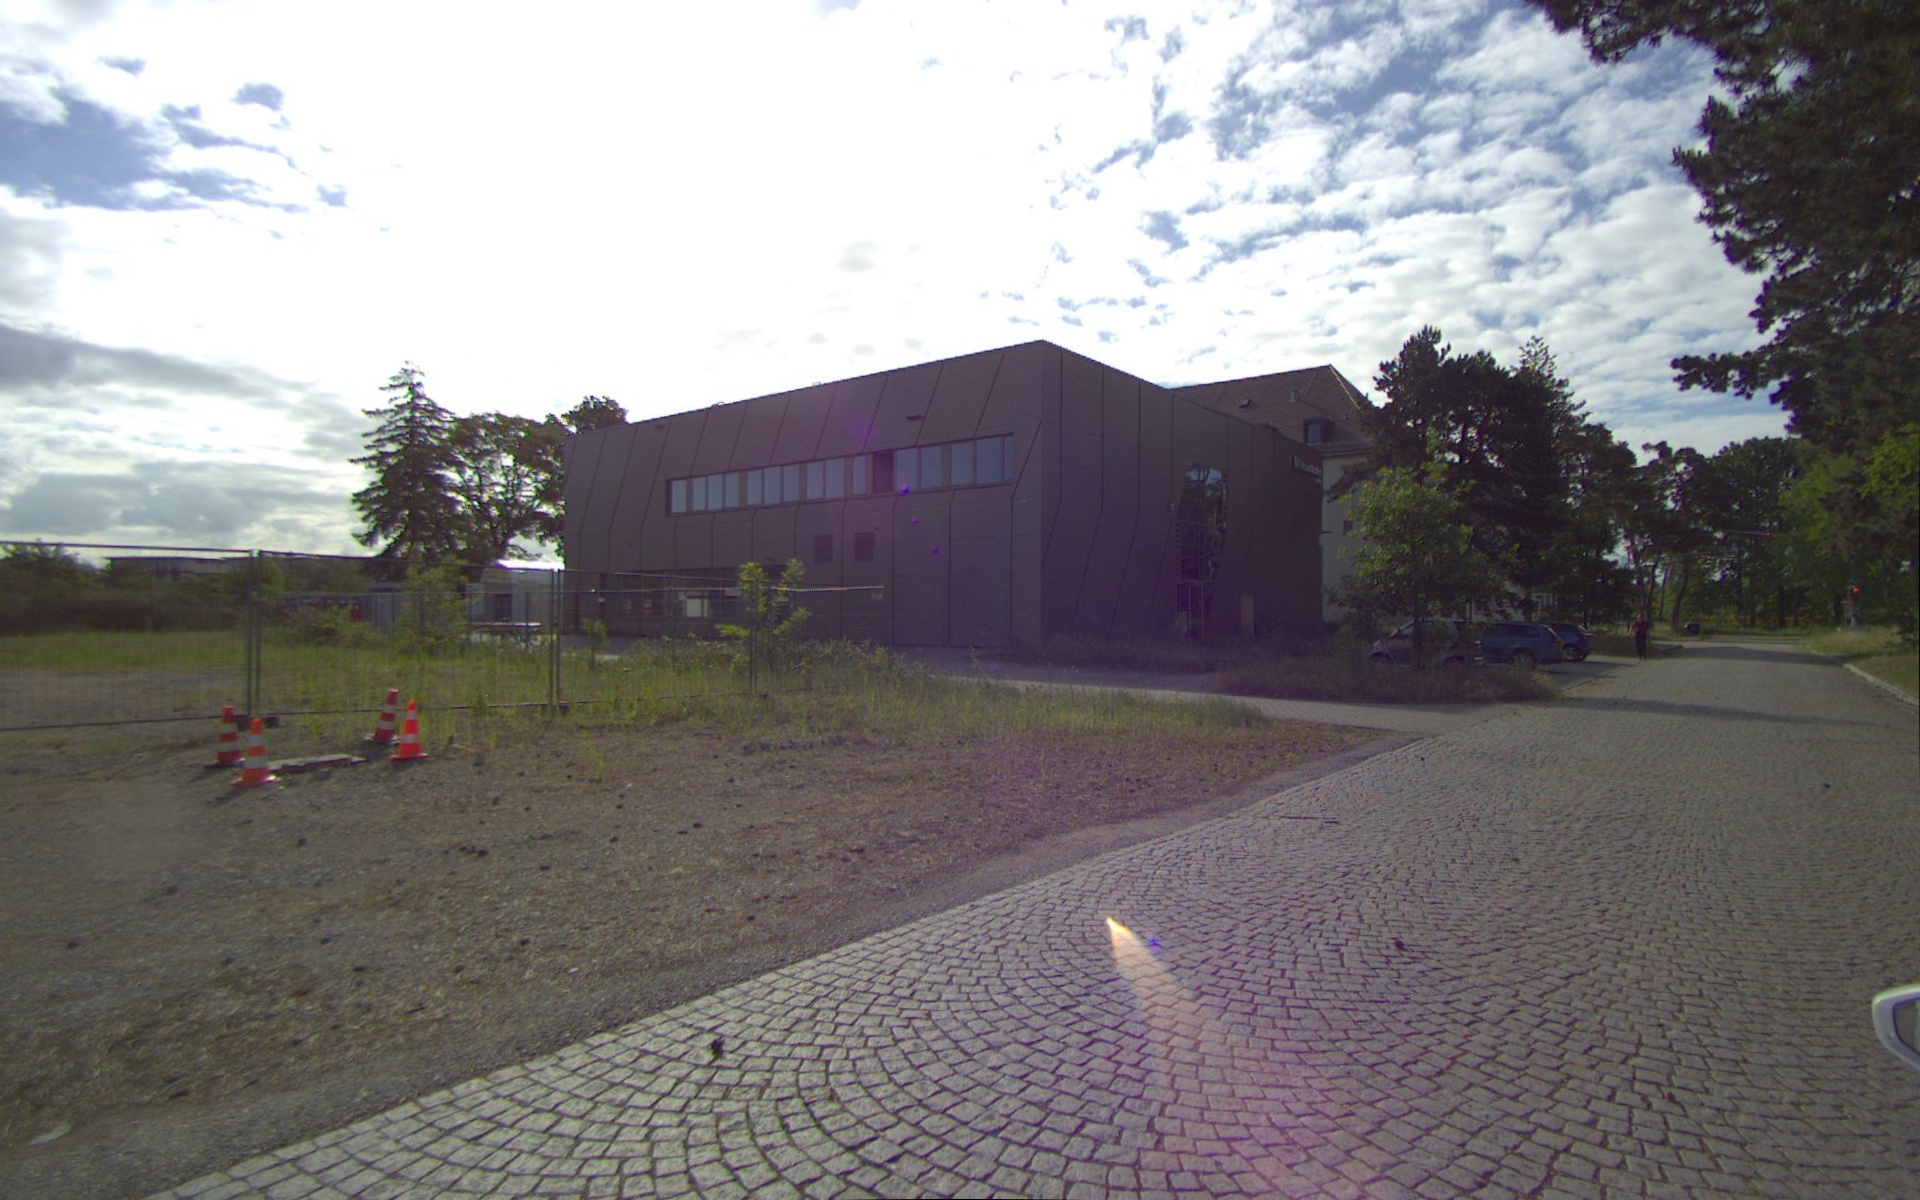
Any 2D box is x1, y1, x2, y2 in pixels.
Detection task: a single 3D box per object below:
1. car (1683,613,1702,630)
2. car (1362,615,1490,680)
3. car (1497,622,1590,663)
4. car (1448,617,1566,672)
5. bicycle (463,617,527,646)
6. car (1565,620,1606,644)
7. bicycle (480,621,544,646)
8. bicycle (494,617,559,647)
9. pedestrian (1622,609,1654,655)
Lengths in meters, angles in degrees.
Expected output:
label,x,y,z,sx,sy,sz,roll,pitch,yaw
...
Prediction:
label,x,y,z,sx,sy,sz,roll,pitch,yaw
car,88.519,2.605,121.416,1.677,2.040,3.982,0,-1,39
car,12.000,1.190,25.930,2.730,1.570,1.417,-1,-1,43
car,22.503,1.613,38.751,3.041,1.469,1.488,0,-1,33
car,17.000,1.345,31.250,3.042,1.477,1.487,2,1,35
bicycle,-18.047,1.207,39.021,0.931,1.058,2.062,0,-1,37
car,44.336,2.226,71.161,1.969,1.639,3.983,-1,-1,39
bicycle,-17.178,1.272,38.522,0.931,0.934,2.062,0,-1,37
bicycle,-16.253,1.186,37.702,0.931,1.101,2.062,0,-1,37
pedestrian,28.035,1.309,41.558,0.941,1.868,0.955,0,-1,25
